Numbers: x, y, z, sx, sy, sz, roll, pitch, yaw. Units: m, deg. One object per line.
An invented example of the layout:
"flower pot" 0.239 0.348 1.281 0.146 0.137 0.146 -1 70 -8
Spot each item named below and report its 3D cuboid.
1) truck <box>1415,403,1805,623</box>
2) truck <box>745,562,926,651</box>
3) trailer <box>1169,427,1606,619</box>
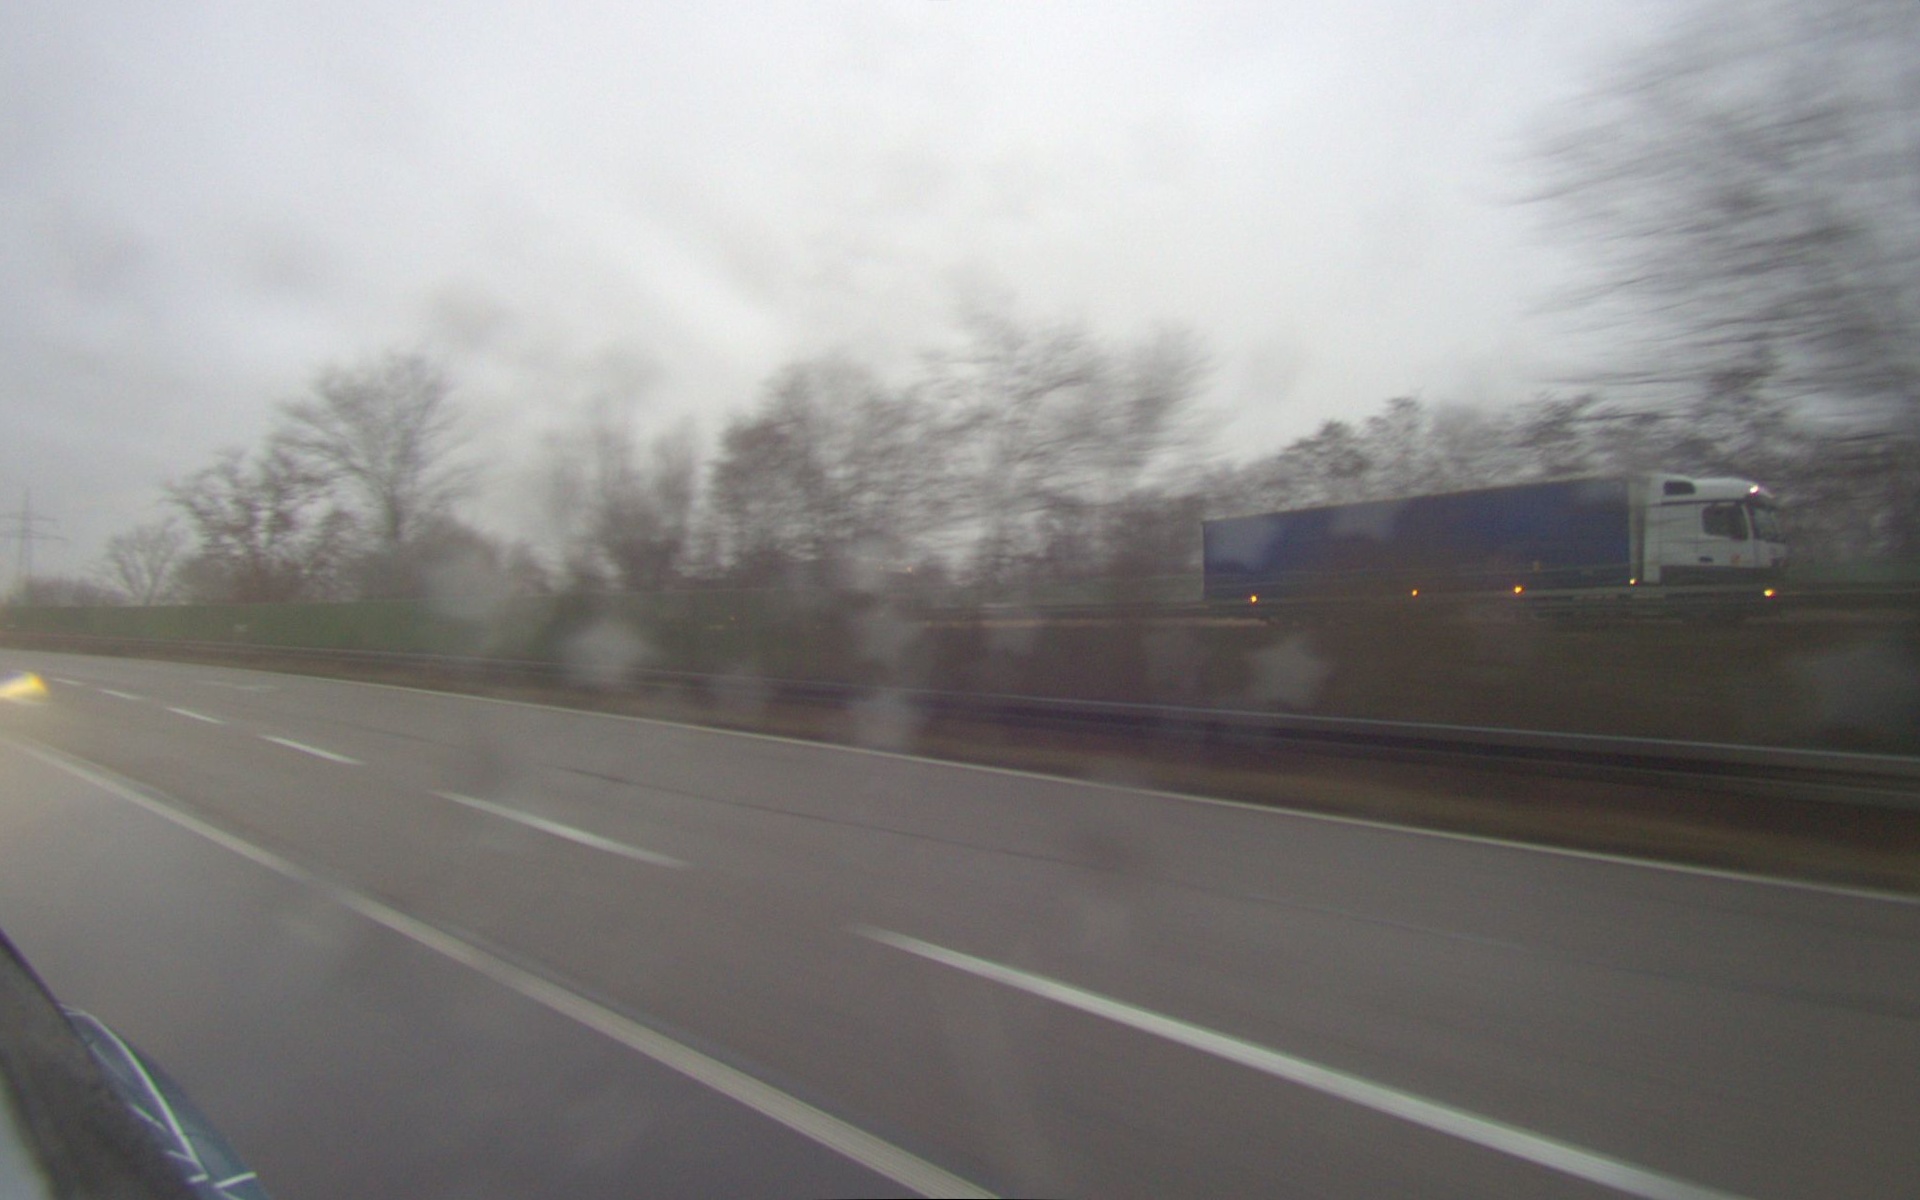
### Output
"truck" 17.629 -2.052 28.106 3.234 5.169 8.532 2 -1 -40
"truck" -7.648 0.331 59.124 3.235 4.645 13.896 2 -1 -41
"trailer" 13.225 -2.083 33.359 3.260 5.142 13.252 2 -1 -40
